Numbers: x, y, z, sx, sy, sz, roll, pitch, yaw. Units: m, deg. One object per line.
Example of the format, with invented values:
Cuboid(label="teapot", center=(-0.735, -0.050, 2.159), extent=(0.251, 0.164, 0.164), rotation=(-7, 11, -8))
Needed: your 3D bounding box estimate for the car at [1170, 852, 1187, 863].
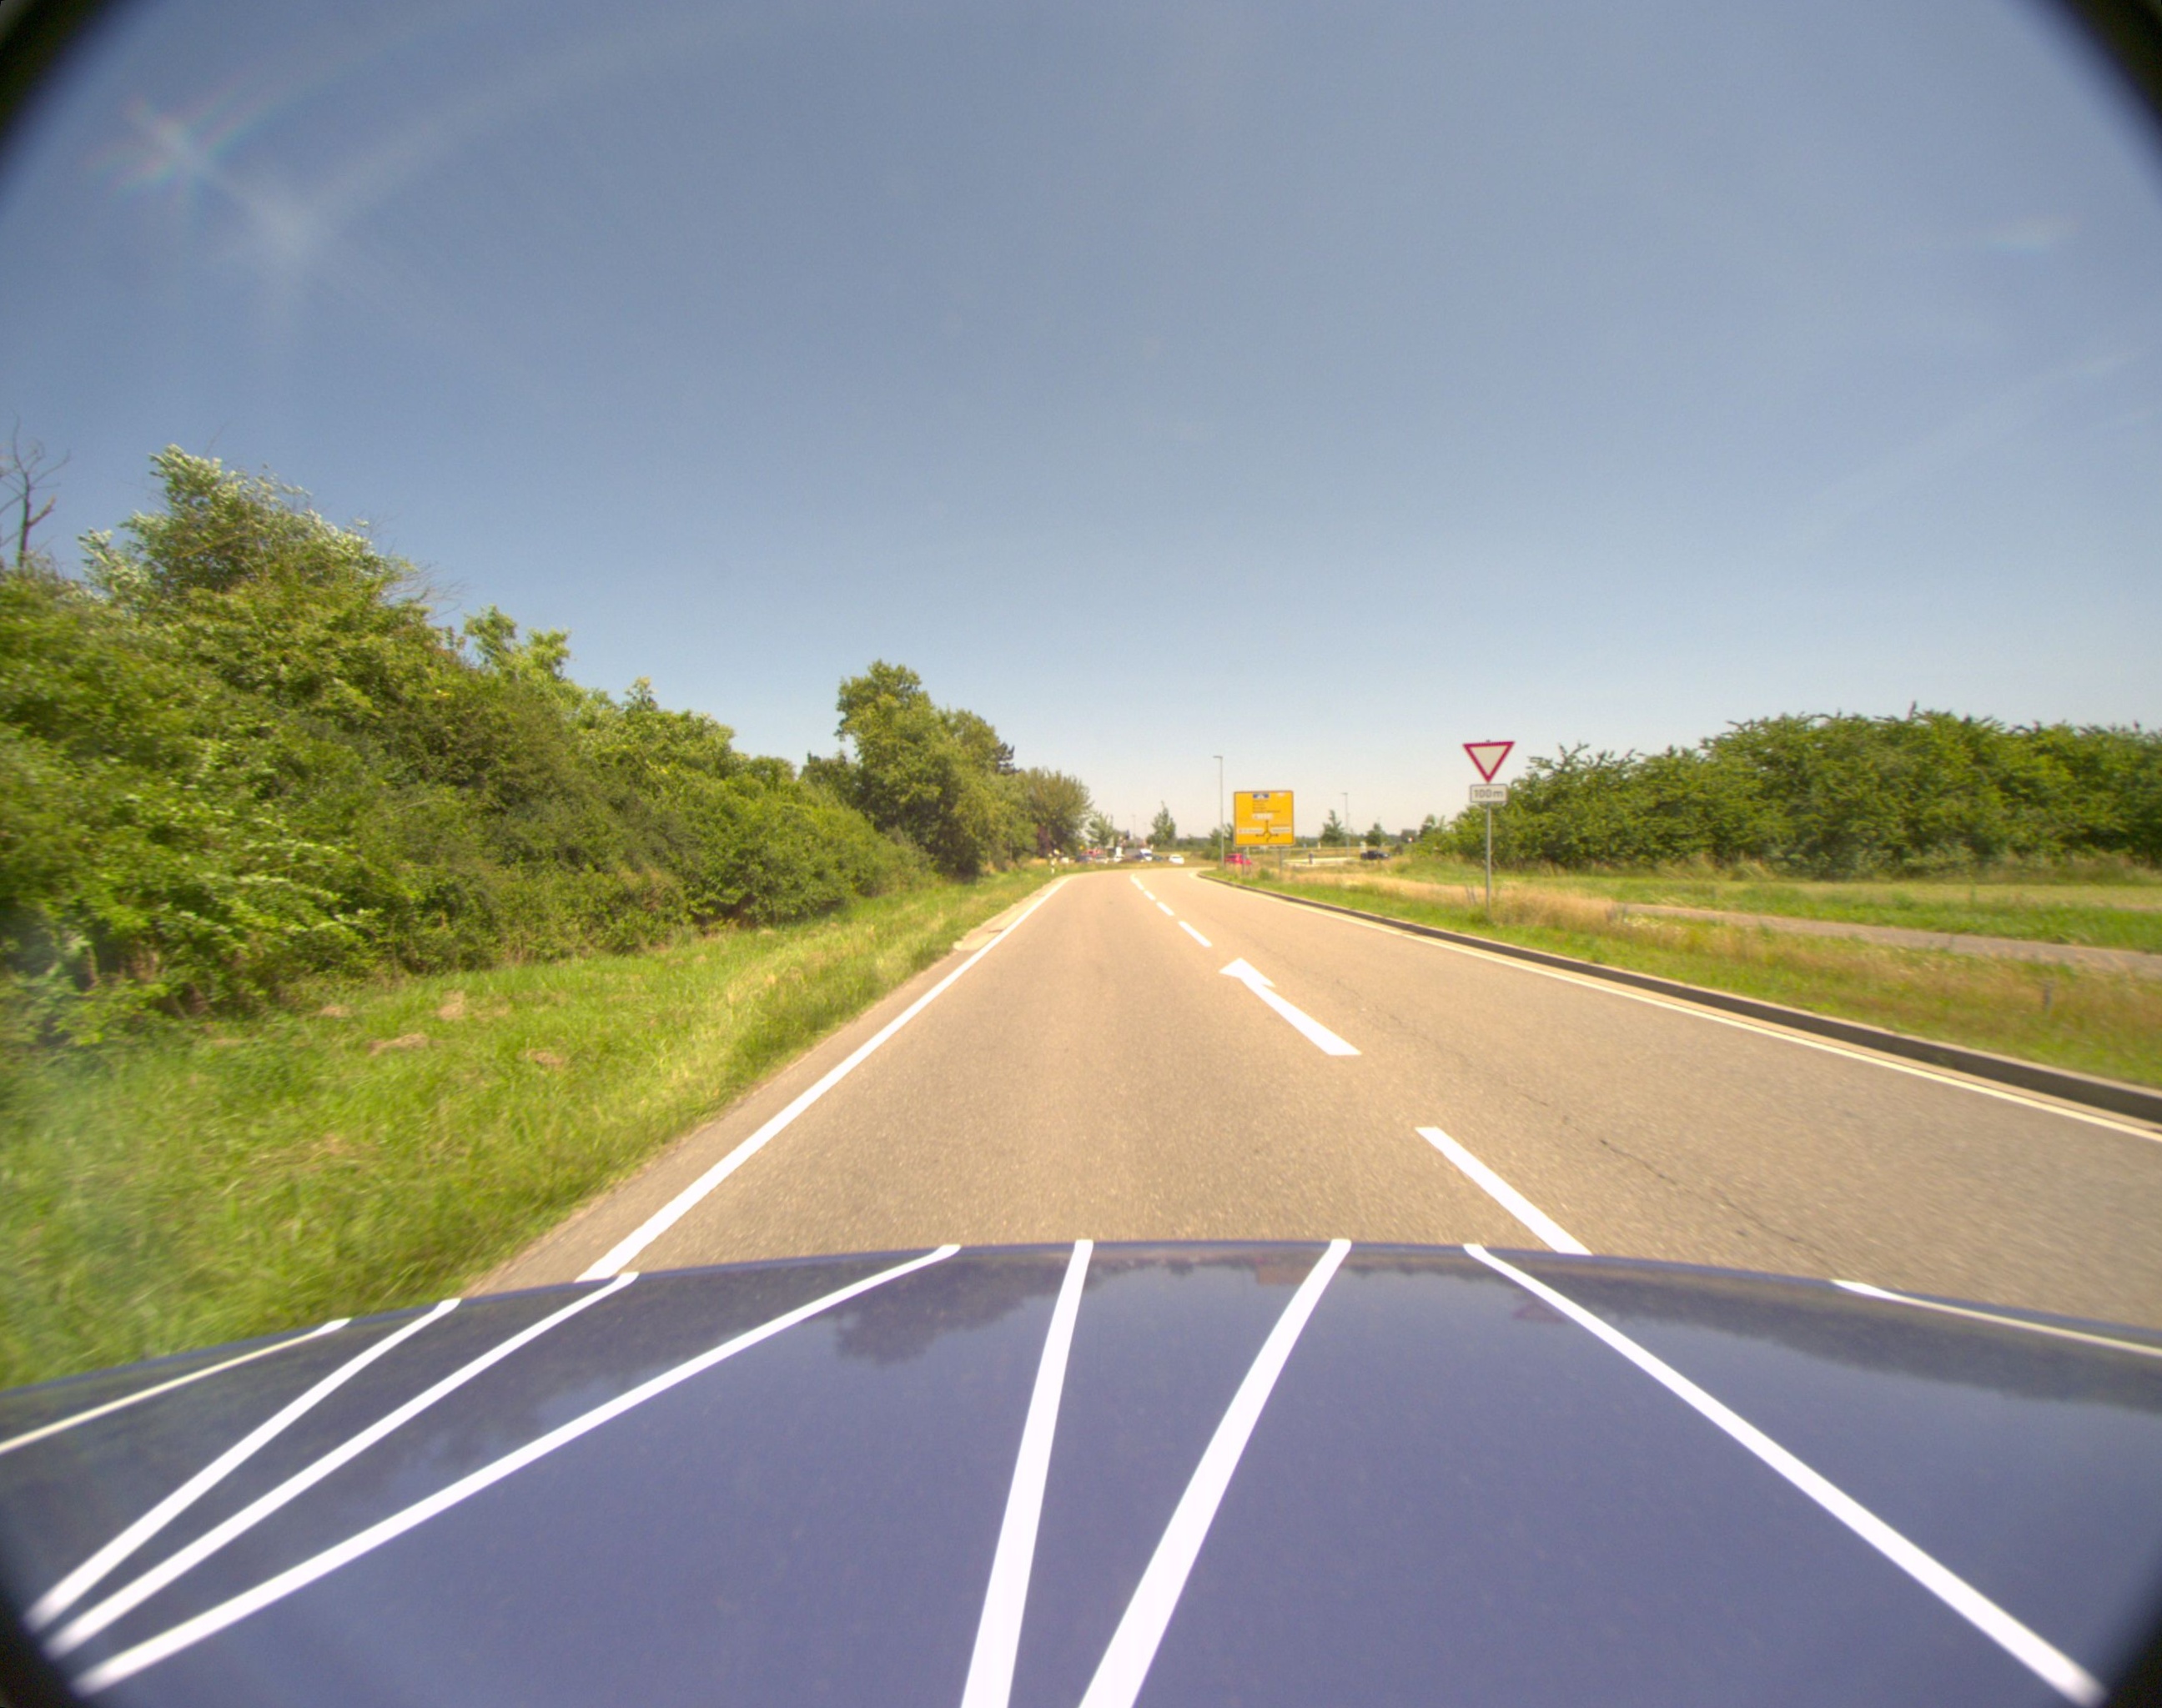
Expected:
Cuboid(label="car", center=(13.258, 0.504, 103.826), extent=(1.746, 1.419, 3.999), rotation=(-1, 0, -1))

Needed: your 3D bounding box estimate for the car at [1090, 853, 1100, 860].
Cuboid(label="car", center=(2.799, 0.524, 154.046), extent=(1.853, 1.487, 3.998), rotation=(-1, 0, -3))

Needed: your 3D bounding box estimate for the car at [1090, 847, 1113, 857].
Cuboid(label="car", center=(5.709, -0.605, 210.973), extent=(6.125, 2.569, 2.359), rotation=(-1, 0, 13))

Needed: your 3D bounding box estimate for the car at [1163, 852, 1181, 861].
Cuboid(label="car", center=(13.635, 0.301, 113.741), extent=(1.747, 1.303, 3.997), rotation=(-1, 0, -6))

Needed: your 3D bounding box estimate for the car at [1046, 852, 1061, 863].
Cuboid(label="car", center=(-3.713, 0.499, 102.983), extent=(1.772, 1.434, 3.967), rotation=(-1, -1, 0))

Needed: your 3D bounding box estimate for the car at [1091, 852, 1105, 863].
Cuboid(label="car", center=(2.267, 0.517, 103.002), extent=(1.773, 1.434, 3.967), rotation=(-1, -1, 0))

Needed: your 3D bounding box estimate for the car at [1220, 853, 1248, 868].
Cuboid(label="car", center=(15.002, 0.598, 74.294), extent=(1.656, 1.425, 3.743), rotation=(0, 1, 28))

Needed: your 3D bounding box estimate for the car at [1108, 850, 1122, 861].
Cuboid(label="car", center=(4.646, 0.237, 103.430), extent=(1.772, 1.434, 3.968), rotation=(-1, -1, 1))

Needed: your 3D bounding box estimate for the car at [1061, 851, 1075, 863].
Cuboid(label="car", center=(-1.700, 0.438, 103.855), extent=(1.772, 1.434, 3.967), rotation=(-1, -1, 0))

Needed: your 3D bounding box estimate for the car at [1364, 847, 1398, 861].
Cuboid(label="car", center=(42.612, -0.006, 108.045), extent=(1.871, 1.812, 4.511), rotation=(-2, 1, -24))
